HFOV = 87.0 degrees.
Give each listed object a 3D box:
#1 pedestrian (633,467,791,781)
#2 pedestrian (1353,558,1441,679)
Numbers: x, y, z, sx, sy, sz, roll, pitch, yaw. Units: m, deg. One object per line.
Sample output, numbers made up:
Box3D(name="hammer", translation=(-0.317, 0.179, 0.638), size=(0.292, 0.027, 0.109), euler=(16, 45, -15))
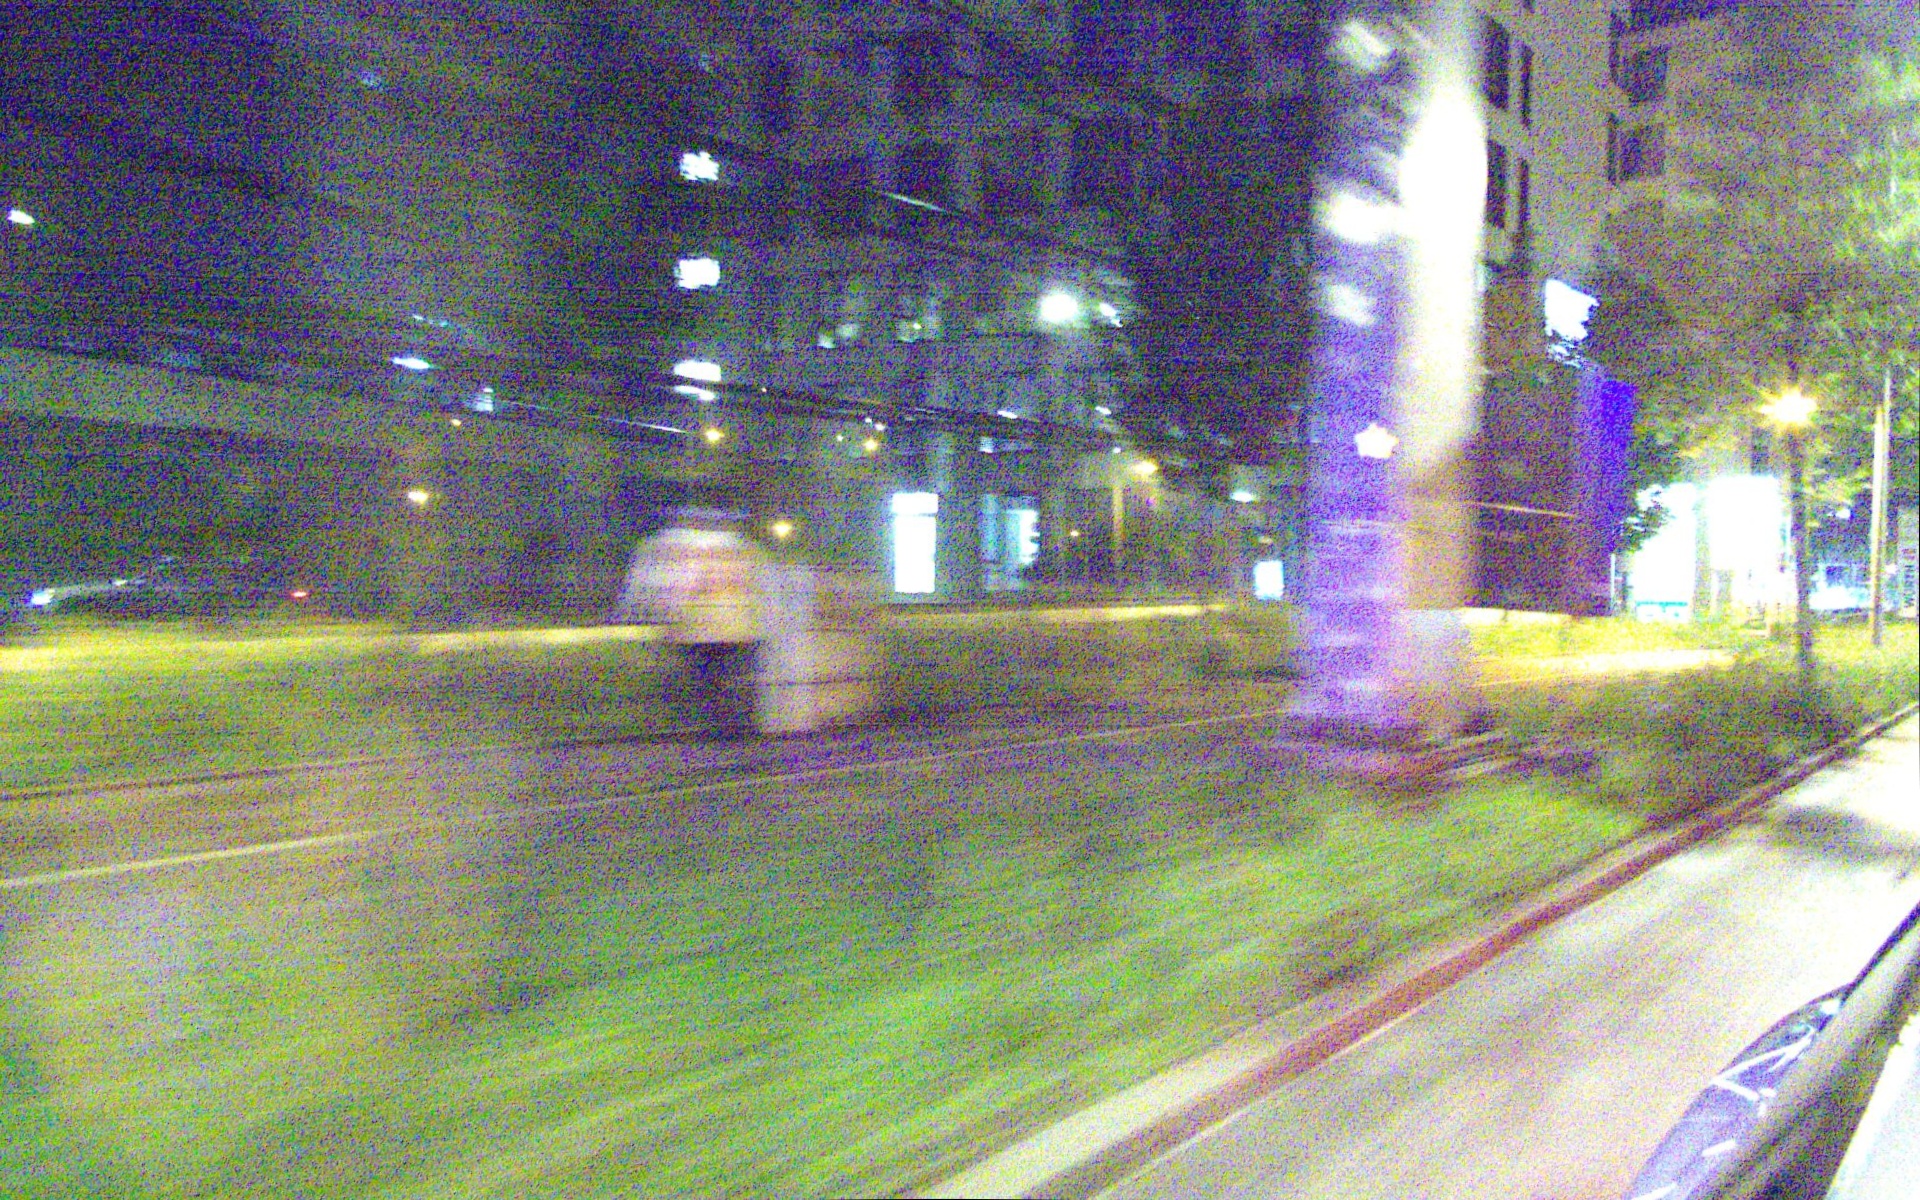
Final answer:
Box3D(name="pedestrian", translation=(-1.673, 0.133, 6.774), size=(0.777, 1.936, 0.808), euler=(1, 3, -31))
Box3D(name="pedestrian", translation=(6.559, 0.247, 15.180), size=(0.940, 1.728, 0.854), euler=(0, 2, -40))
